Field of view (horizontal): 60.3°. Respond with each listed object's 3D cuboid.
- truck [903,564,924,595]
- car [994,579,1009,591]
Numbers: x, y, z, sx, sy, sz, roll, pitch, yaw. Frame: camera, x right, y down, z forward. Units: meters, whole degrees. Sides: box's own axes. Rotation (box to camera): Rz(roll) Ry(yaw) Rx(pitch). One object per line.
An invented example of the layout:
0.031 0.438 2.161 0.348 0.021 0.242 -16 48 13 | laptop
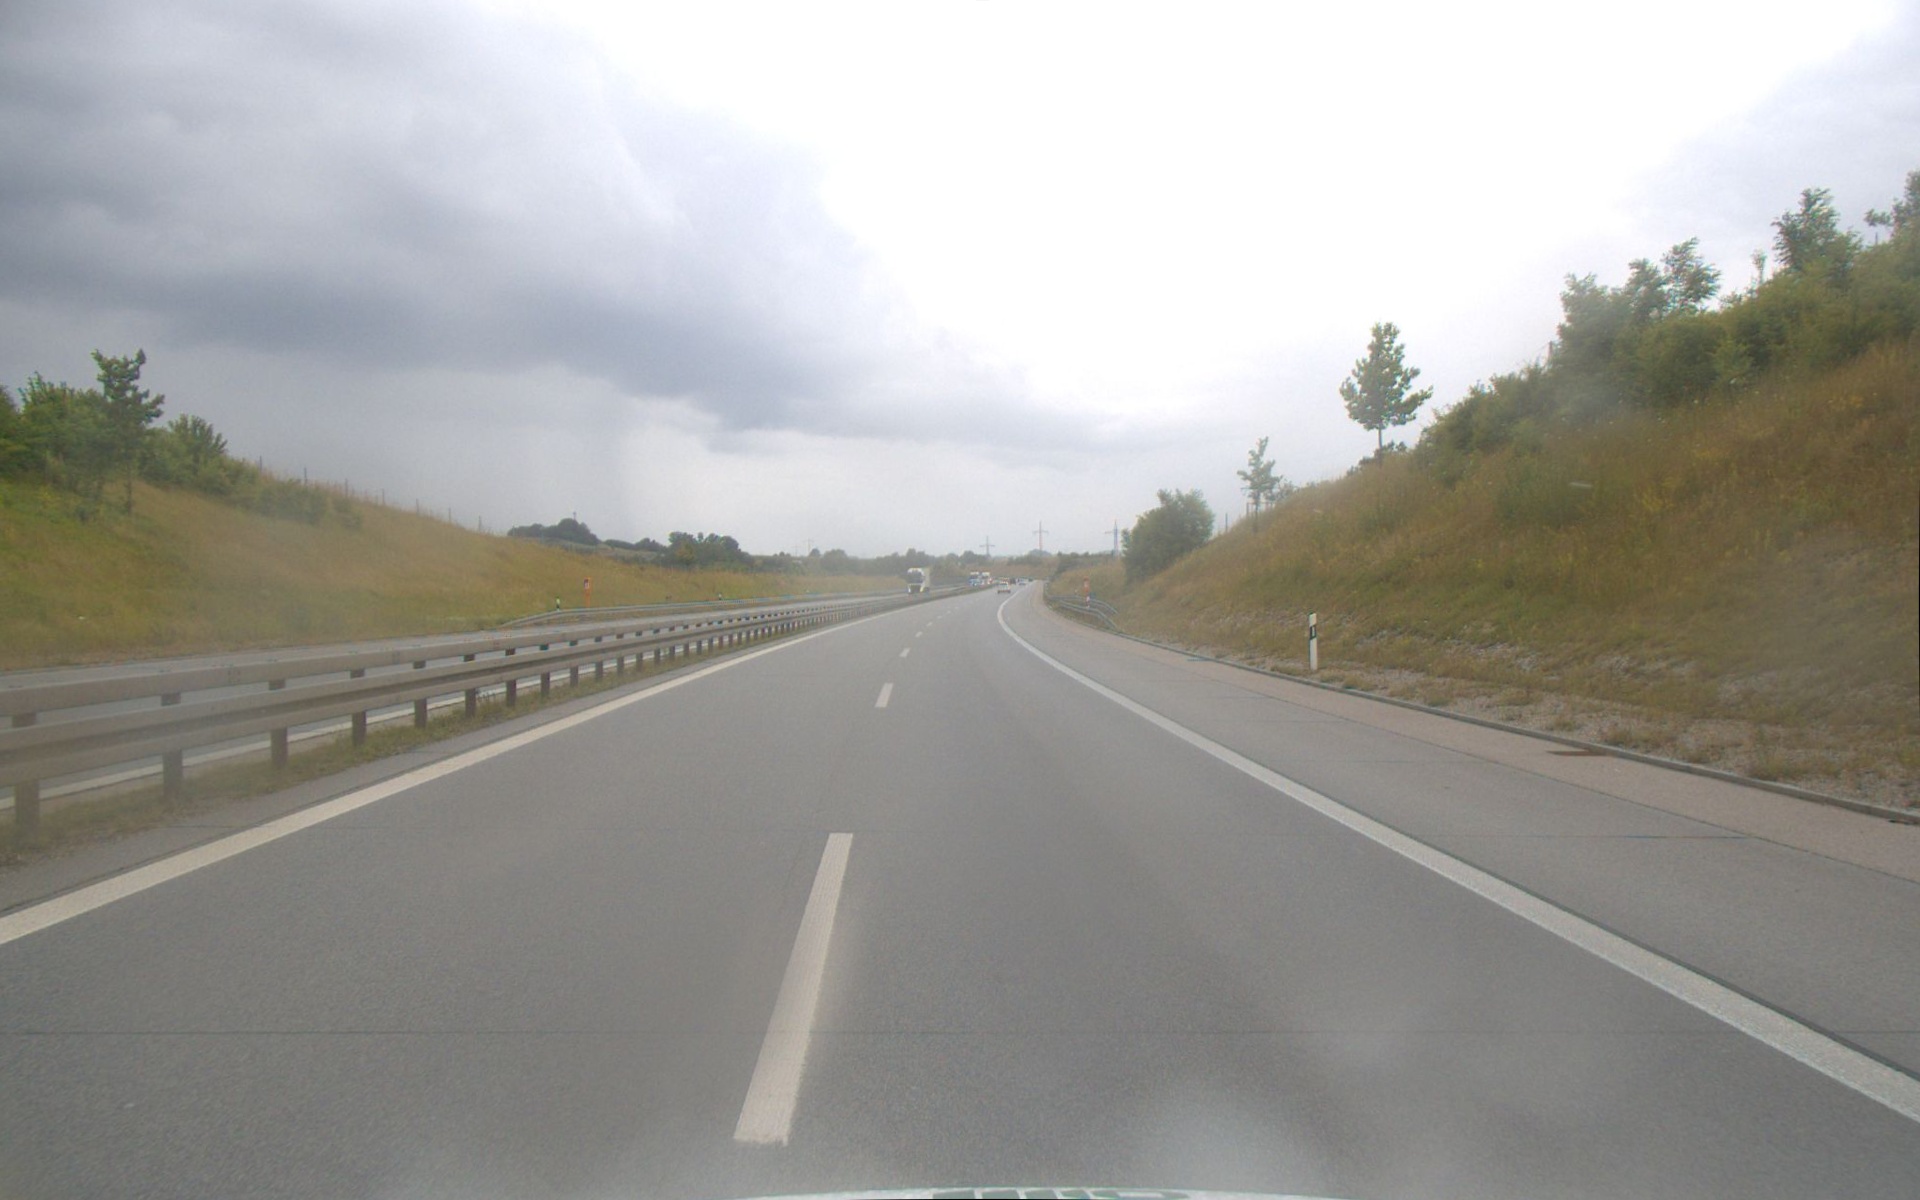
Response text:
-7.158 -3.167 256.106 2.737 4.728 6.922 -1 1 2 | truck
6.156 -2.264 244.992 1.915 1.680 4.002 -1 0 6 | car
